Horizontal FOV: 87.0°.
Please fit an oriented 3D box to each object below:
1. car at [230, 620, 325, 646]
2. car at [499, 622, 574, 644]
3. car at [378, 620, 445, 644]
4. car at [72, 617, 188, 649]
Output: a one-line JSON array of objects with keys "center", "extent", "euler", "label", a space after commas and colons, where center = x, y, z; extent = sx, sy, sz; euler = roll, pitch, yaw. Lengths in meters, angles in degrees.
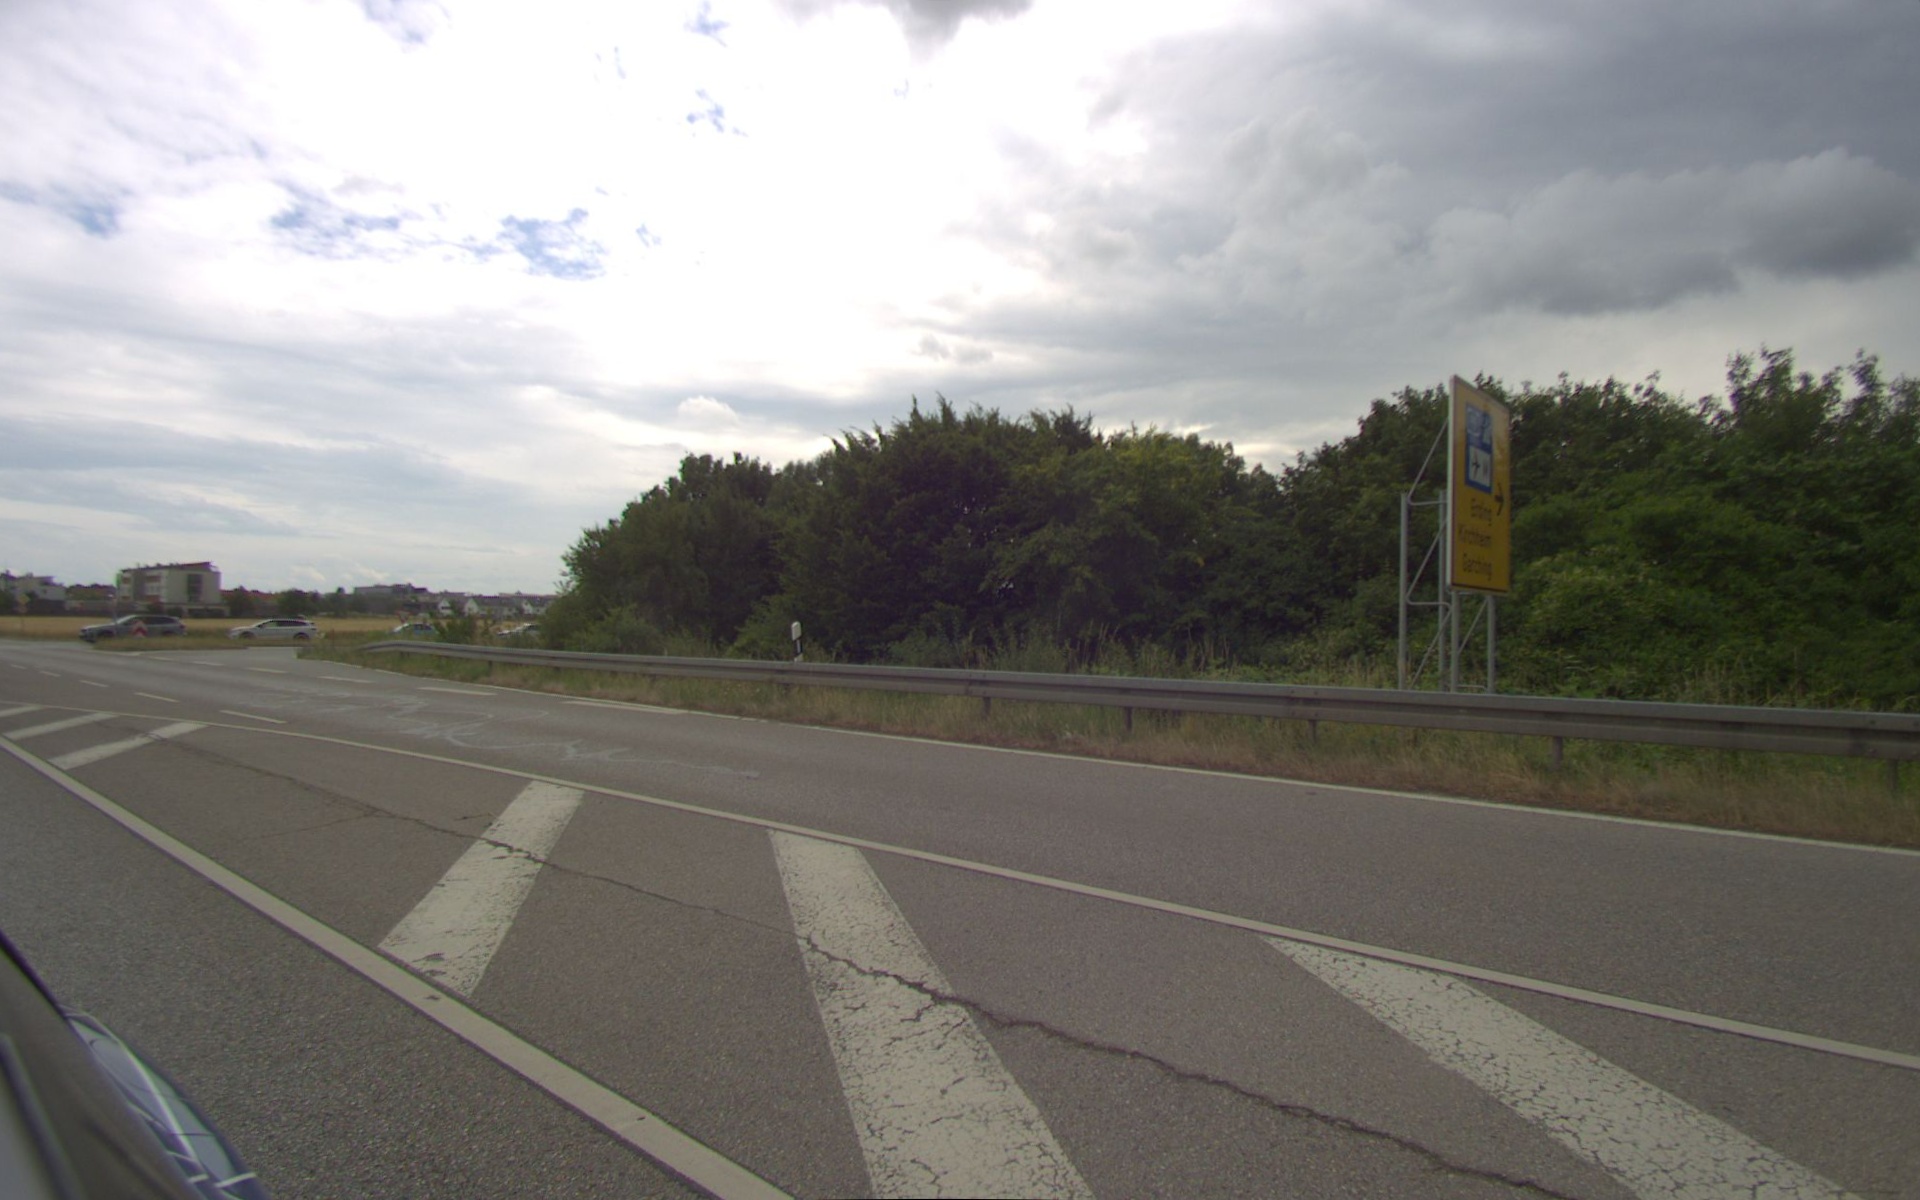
[{"center": [-42.047, 2.013, 62.407], "extent": [4.607, 1.510, 2.002], "euler": [1, -2, -42], "label": "car"}, {"center": [-30.608, 2.378, 73.180], "extent": [4.607, 1.510, 2.002], "euler": [1, -2, -42], "label": "car"}, {"center": [-36.504, 2.106, 67.383], "extent": [3.662, 1.510, 1.732], "euler": [1, -2, -42], "label": "car"}, {"center": [-46.871, 1.834, 57.258], "extent": [1.998, 1.702, 4.755], "euler": [-1, -2, 38], "label": "car"}]
